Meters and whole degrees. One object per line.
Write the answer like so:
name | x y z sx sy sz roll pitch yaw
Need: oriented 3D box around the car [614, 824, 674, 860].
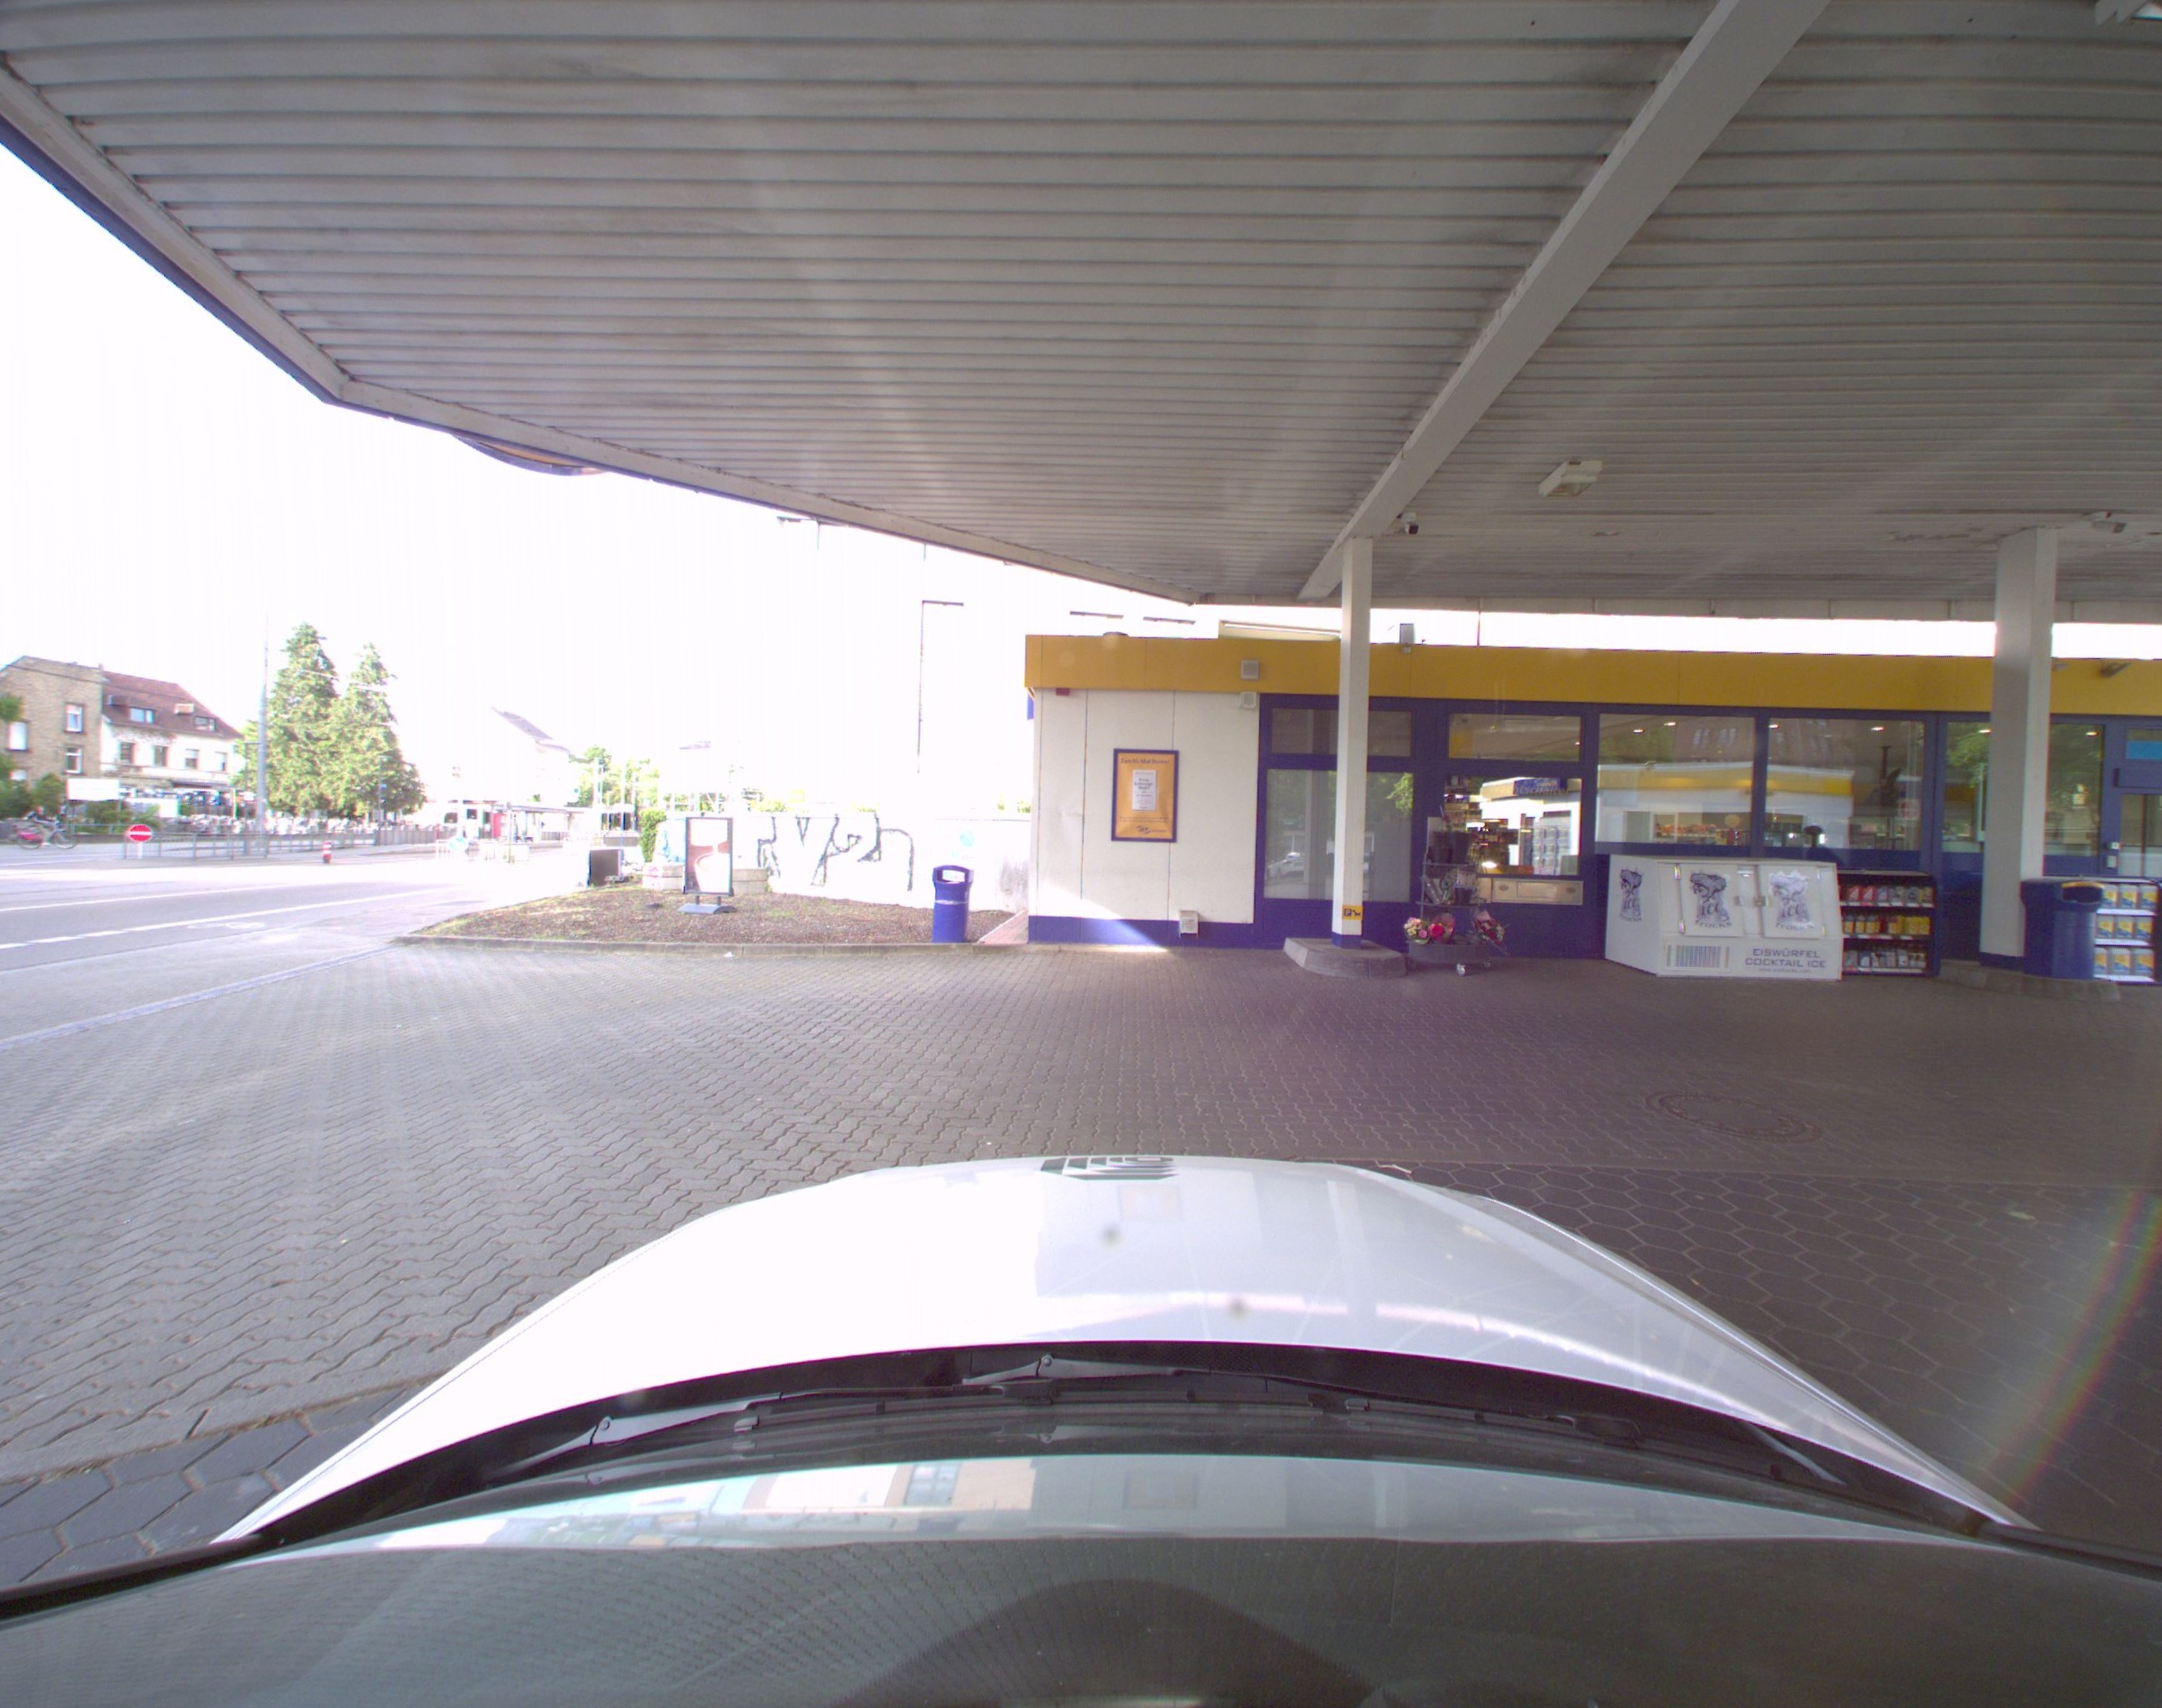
car | -24.562 -0.674 45.913 1.965 1.889 4.390 1 0 -15

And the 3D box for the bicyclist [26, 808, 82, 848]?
bicyclist | -41.212 -1.032 32.695 0.781 1.492 1.099 4 0 11

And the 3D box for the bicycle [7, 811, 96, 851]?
bicycle | -41.229 -0.898 32.645 0.781 1.492 1.998 4 0 12
